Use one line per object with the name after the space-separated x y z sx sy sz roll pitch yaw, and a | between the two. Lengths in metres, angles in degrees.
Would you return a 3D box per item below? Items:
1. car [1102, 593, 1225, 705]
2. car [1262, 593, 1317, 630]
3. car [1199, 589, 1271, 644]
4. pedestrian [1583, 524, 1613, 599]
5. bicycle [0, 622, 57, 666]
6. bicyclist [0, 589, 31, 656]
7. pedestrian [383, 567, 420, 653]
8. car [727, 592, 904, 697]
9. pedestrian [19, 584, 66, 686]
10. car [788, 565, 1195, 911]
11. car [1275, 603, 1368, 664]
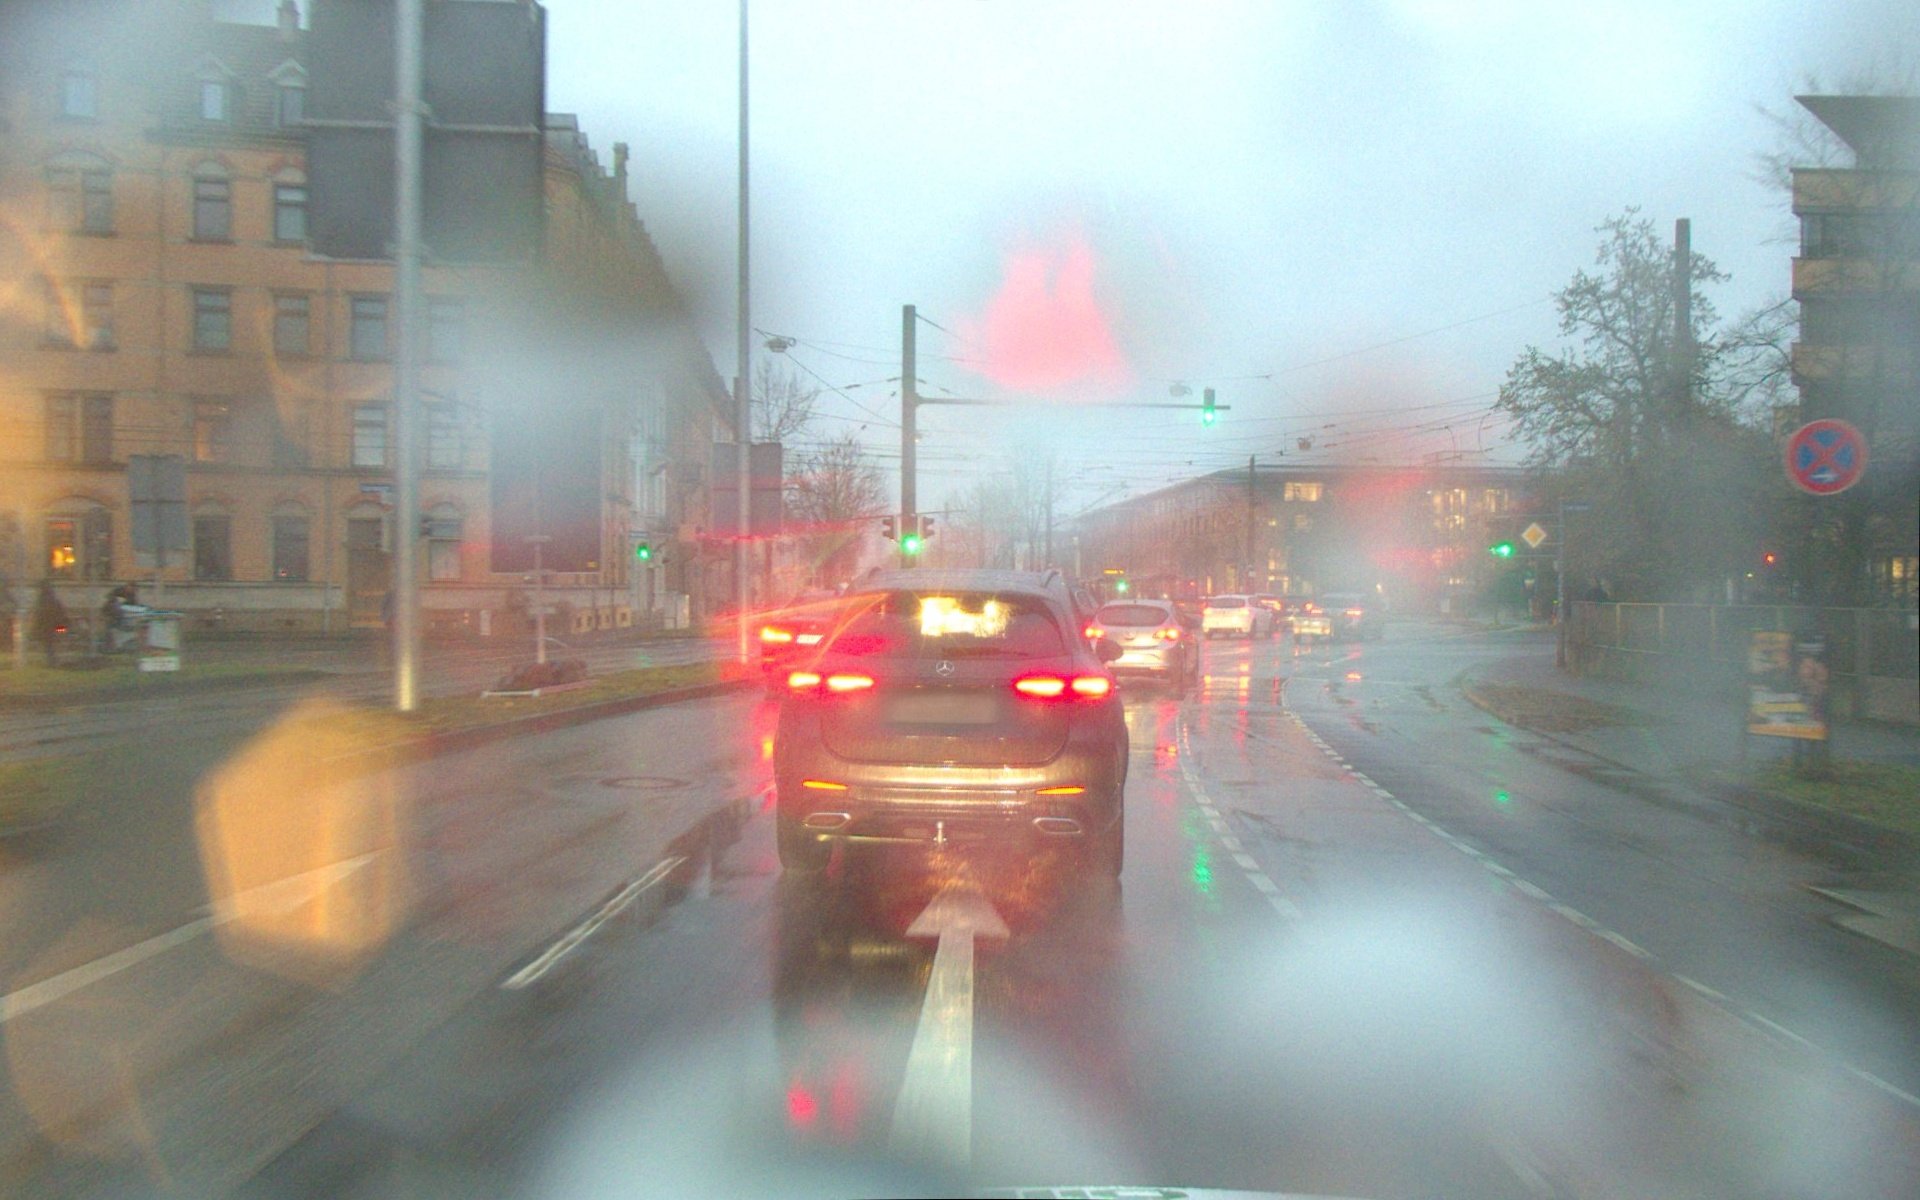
3.649 0.793 29.097 1.951 1.796 4.004 0 0 10 | car
13.311 0.442 66.723 1.823 1.434 3.946 0 0 16 | car
9.344 0.528 55.973 1.951 1.796 4.003 0 0 16 | car
16.271 -0.990 42.176 0.561 1.870 0.683 -4 0 23 | pedestrian
-20.369 0.934 35.251 1.960 0.915 0.501 0 1 -33 | bicycle
-20.359 0.476 35.252 0.957 1.415 0.501 1 0 -33 | bicyclist
-11.817 0.214 34.999 0.457 1.803 0.629 0 0 16 | pedestrian
-2.048 0.603 24.607 1.951 1.422 4.002 0 0 5 | car
-16.644 0.625 30.012 0.616 1.823 0.530 1 0 -17 | pedestrian
0.072 0.641 9.923 1.951 1.644 3.998 0 0 -3 | car
11.343 1.013 51.675 1.954 1.796 3.996 0 0 26 | car
